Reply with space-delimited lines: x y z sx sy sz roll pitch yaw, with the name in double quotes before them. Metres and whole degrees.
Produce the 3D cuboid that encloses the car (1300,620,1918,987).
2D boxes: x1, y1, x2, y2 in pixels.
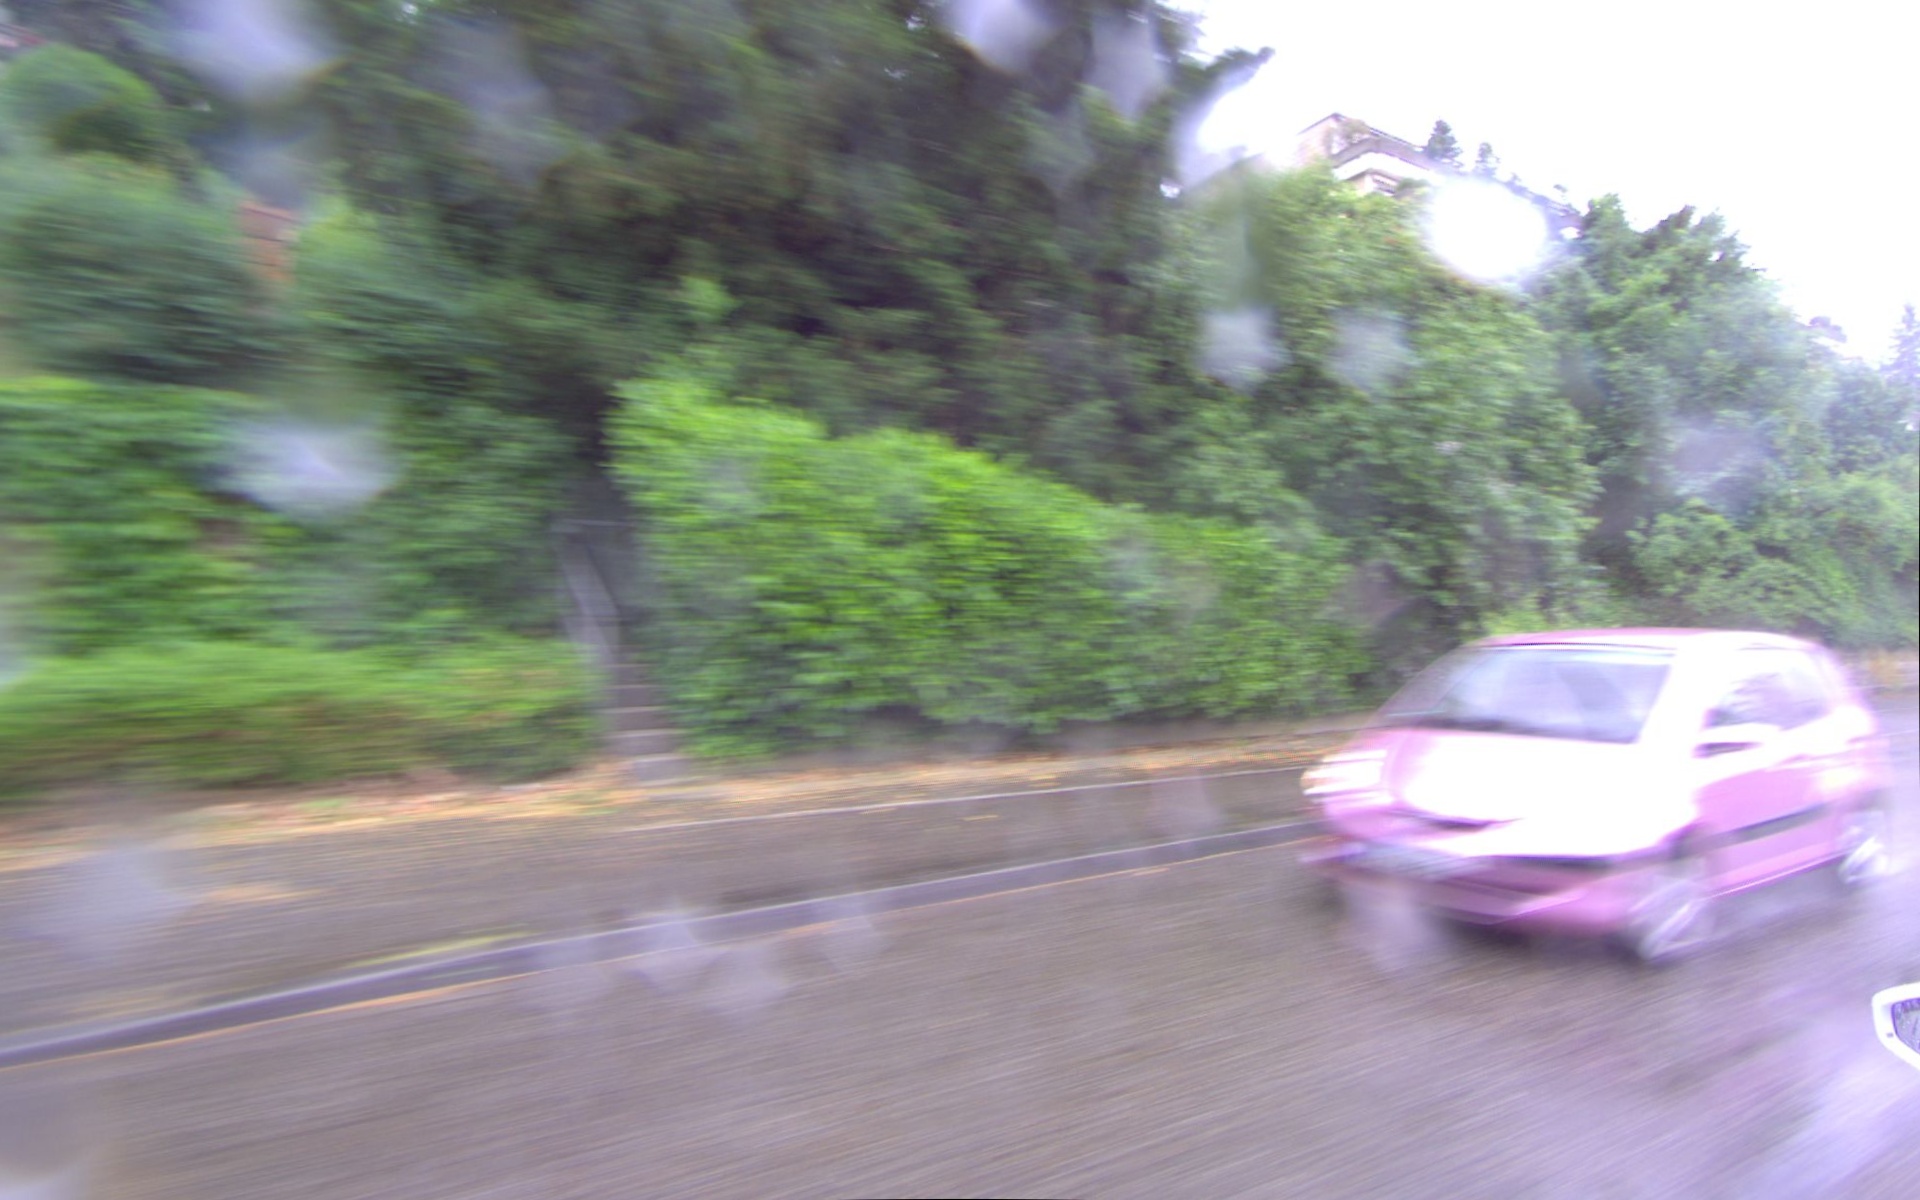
"car" 3.830 0.890 5.792 3.622 1.480 1.653 2 -1 -33
